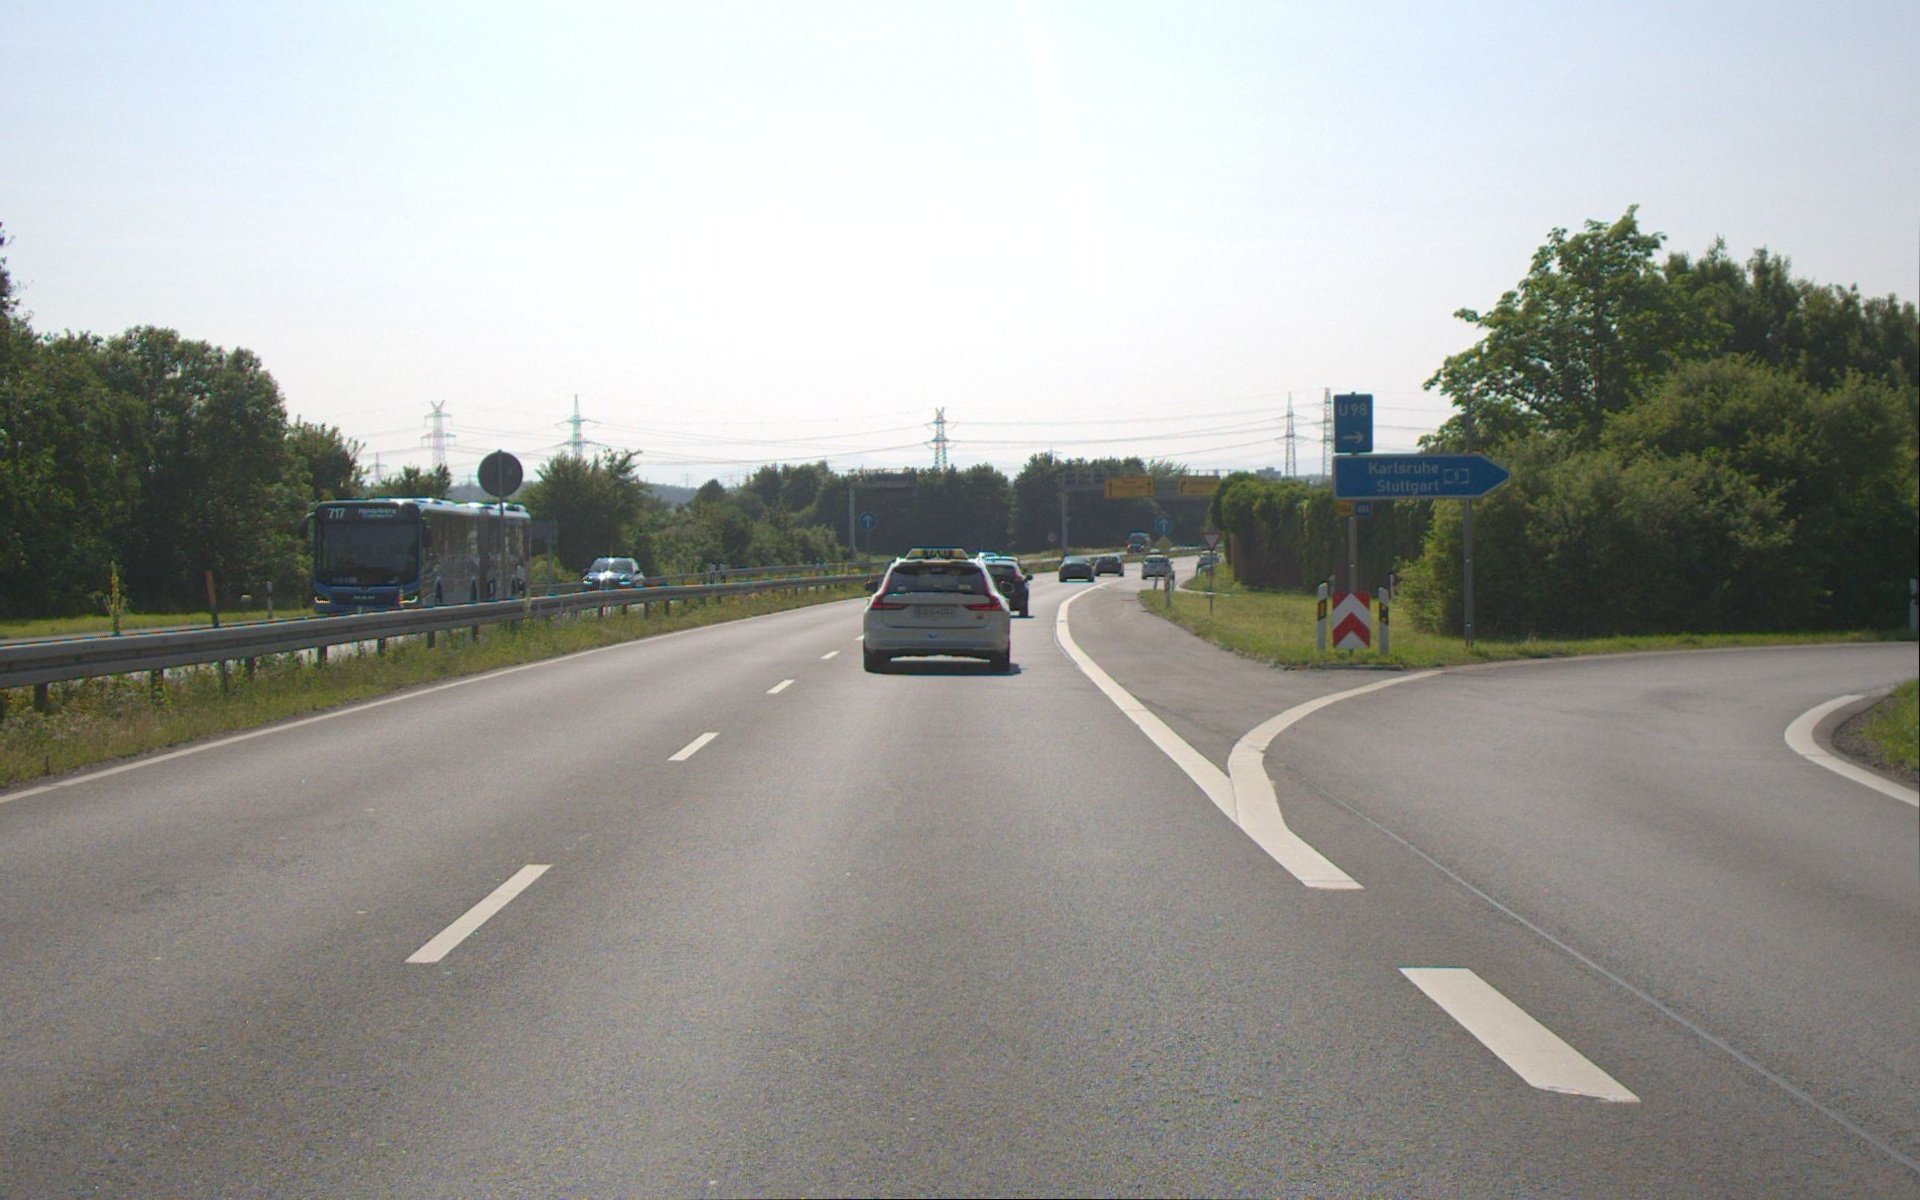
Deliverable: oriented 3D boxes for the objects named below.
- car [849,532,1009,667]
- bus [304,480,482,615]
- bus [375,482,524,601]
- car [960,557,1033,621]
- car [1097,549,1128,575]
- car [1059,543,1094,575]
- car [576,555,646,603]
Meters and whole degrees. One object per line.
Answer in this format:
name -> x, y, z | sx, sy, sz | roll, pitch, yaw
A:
car -> -0.373, -0.048, 44.781 | 1.958, 1.596, 4.107 | 1, 2, 0
bus -> -13.906, -1.317, 85.101 | 2.725, 3.099, 9.836 | -1, 1, 0
bus -> -13.900, -1.607, 94.202 | 2.725, 3.099, 8.394 | -1, 1, 0
car -> 0.912, -0.294, 87.056 | 1.793, 1.538, 3.672 | 0, 1, 0
car -> 10.092, -2.538, 227.949 | 1.841, 1.692, 4.000 | 0, 1, 0
car -> 6.578, -2.312, 194.416 | 1.841, 1.796, 4.000 | 1, 1, 4
car -> -12.621, -0.768, 124.390 | 1.993, 1.600, 4.274 | 1, 2, 1
